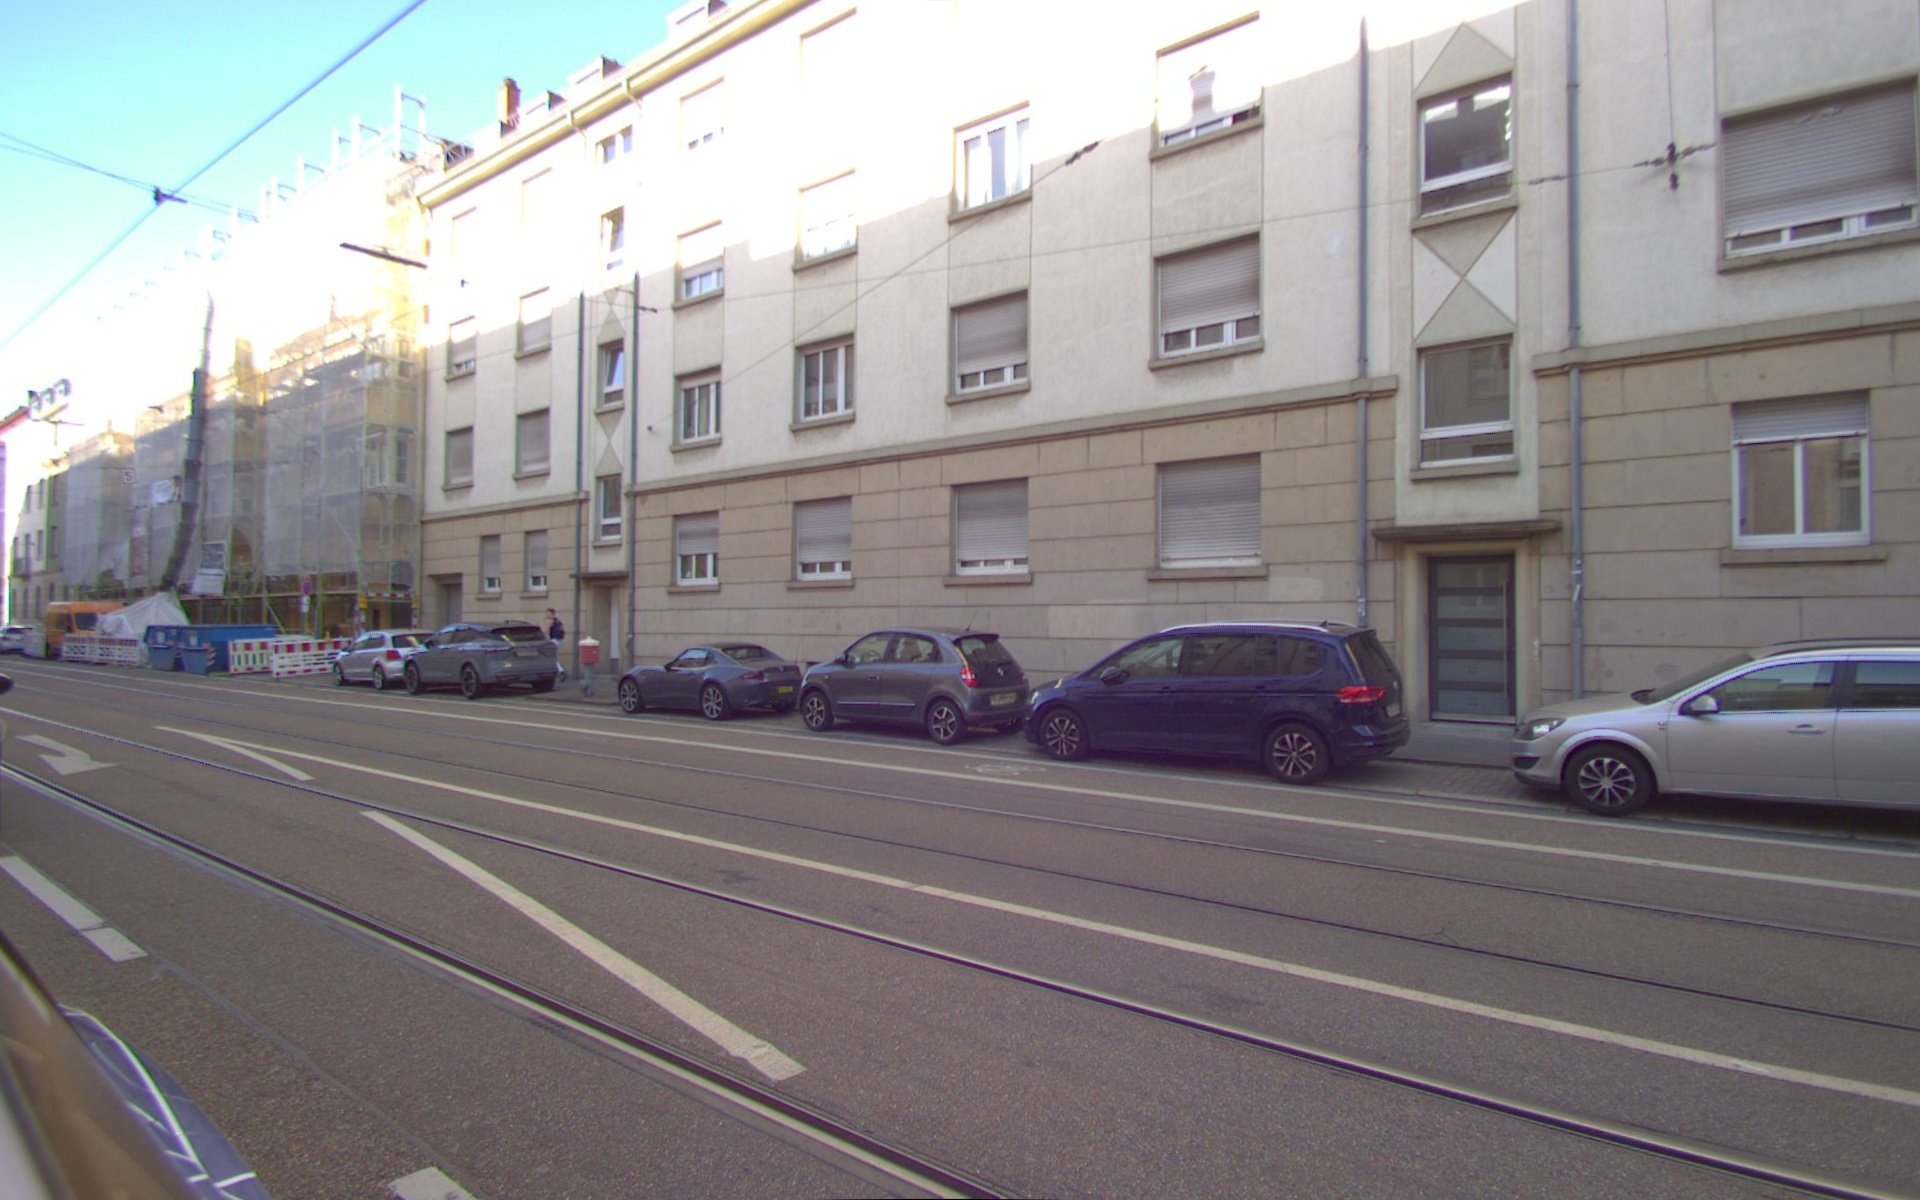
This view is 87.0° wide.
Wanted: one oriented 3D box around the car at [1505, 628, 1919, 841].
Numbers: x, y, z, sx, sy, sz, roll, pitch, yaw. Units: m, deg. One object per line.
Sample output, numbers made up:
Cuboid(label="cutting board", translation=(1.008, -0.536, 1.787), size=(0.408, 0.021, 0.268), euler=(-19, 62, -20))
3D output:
Cuboid(label="car", translation=(7.114, 1.018, 8.407), size=(4.363, 1.465, 1.709), euler=(-1, 1, 37))

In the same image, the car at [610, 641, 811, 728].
Cuboid(label="car", translation=(-4.344, 1.380, 17.448), size=(3.518, 1.229, 1.458), euler=(-1, 1, 37))

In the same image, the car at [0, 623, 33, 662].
Cuboid(label="car", translation=(-50.014, 2.235, 53.307), size=(1.635, 1.937, 3.767), euler=(-1, 0, -44))

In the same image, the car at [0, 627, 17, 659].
Cuboid(label="car", translation=(-54.597, 2.416, 57.062), size=(3.932, 1.696, 1.550), euler=(-1, 0, 39))

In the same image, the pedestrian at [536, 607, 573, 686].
Cuboid(label="pedestrian", translation=(-9.932, 1.119, 24.775), size=(0.762, 1.886, 0.513), euler=(-1, 0, 38))

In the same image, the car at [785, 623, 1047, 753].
Cuboid(label="car", translation=(-0.693, 1.161, 14.632), size=(3.591, 1.570, 1.624), euler=(-1, 1, 38))

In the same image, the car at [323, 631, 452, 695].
Cuboid(label="car", translation=(-14.393, 1.533, 25.389), size=(3.502, 1.390, 1.546), euler=(-1, 1, 37))

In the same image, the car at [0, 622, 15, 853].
Cuboid(label="car", translation=(-7.952, 0.898, 6.930), size=(3.814, 1.436, 1.706), euler=(-2, -3, 40))

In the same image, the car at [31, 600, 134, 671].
Cuboid(label="car", translation=(-36.460, 1.406, 41.996), size=(5.866, 2.717, 2.188), euler=(-1, 0, 39))

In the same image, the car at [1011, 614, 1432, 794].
Cuboid(label="car", translation=(2.888, 1.020, 11.627), size=(4.318, 1.645, 1.798), euler=(-1, 1, 37))

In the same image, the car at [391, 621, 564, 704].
Cuboid(label="car", translation=(-10.814, 1.317, 22.580), size=(4.152, 1.621, 1.731), euler=(-1, 1, 37))
